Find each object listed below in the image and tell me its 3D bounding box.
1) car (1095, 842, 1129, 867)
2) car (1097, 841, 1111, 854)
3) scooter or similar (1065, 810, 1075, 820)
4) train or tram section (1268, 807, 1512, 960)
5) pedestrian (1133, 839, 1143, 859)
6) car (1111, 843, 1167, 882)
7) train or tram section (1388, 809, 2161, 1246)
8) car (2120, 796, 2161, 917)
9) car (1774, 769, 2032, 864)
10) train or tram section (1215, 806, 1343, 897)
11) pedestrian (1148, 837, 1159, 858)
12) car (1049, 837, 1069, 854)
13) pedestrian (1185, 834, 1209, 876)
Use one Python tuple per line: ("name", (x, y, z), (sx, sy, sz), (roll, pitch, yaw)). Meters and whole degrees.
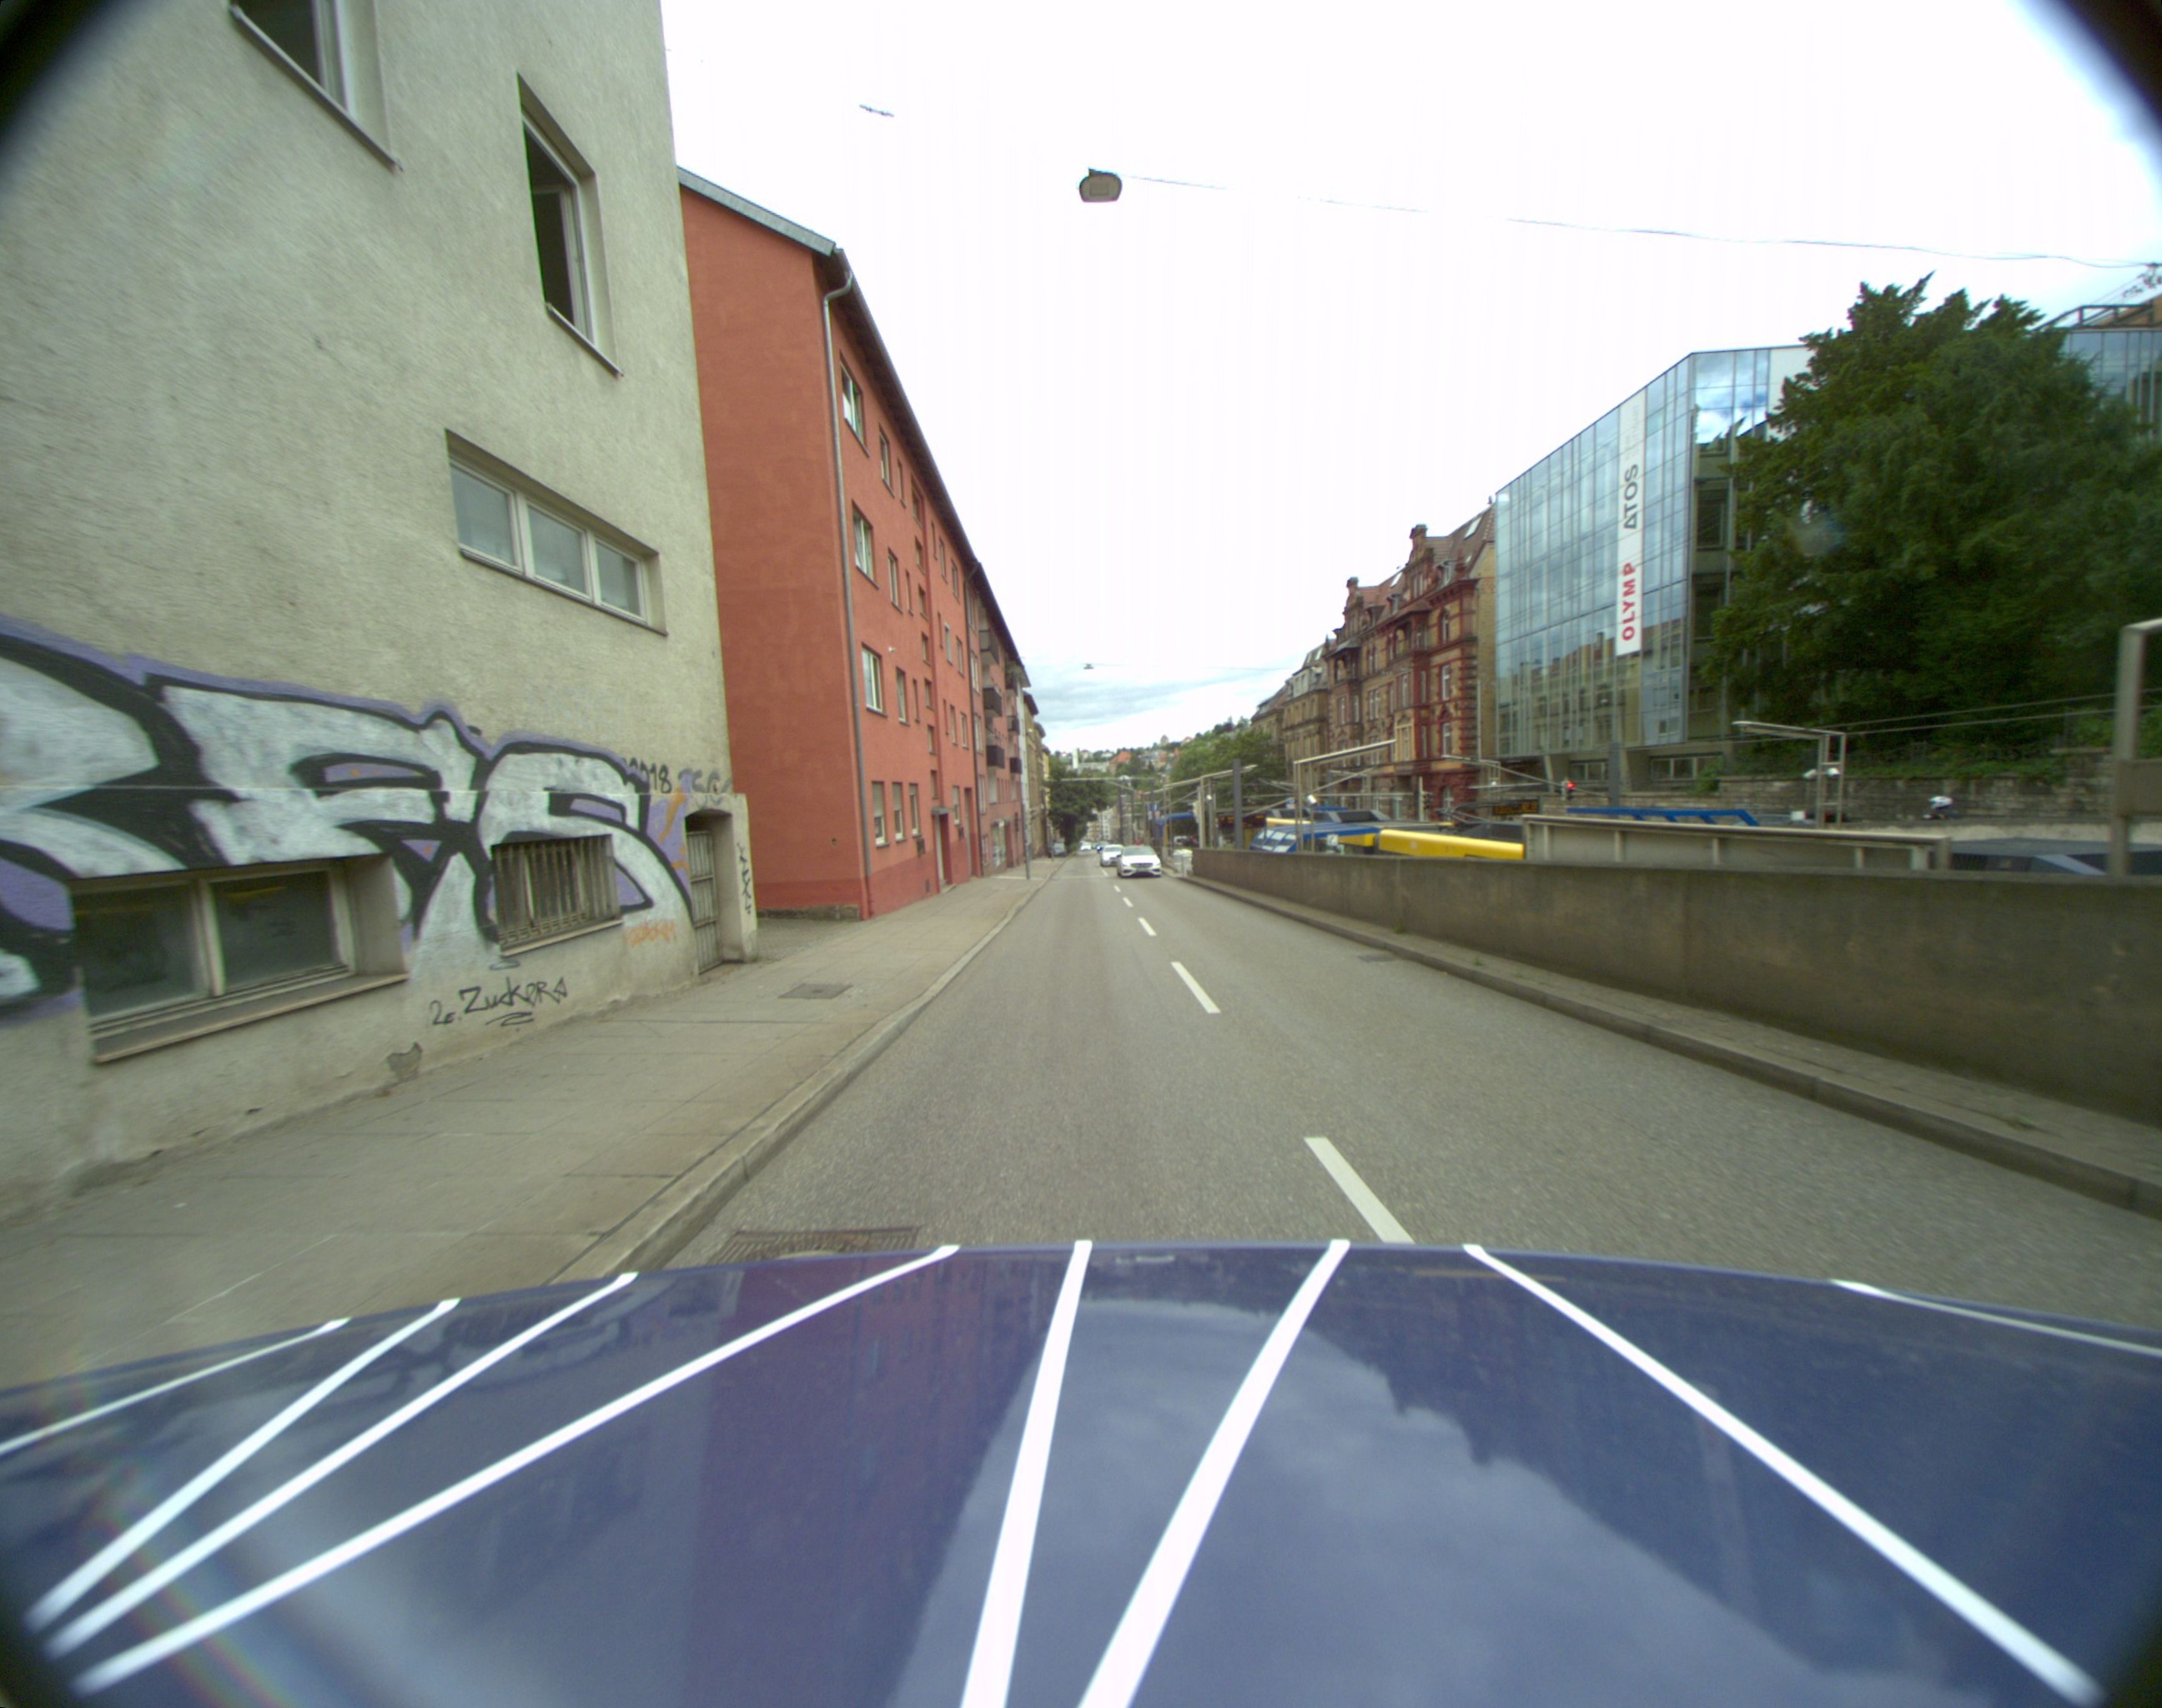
("car", (2.083, -0.011, 52.212), (1.999, 1.479, 4.229), (-5, 1, 0))
("car", (3.264, -0.894, 107.061), (1.881, 1.728, 4.000), (-3, 1, 2))
("scooter or similar", (-1.325, -4.803, 93.462), (1.199, 1.266, 0.629), (0, 2, -9))
("train or tram section", (8.971, 0.347, 24.443), (2.957, 3.453, 12.209), (-2, 4, 1))
("pedestrian", (4.799, -0.407, 64.125), (0.680, 1.671, 0.685), (-3, 2, -2))
("car", (2.608, 0.337, 34.930), (1.999, 1.390, 4.227), (-5, 2, -2))
("train or tram section", (8.932, 1.104, 12.237), (2.957, 3.465, 12.211), (-2, 3, 0))
("car", (19.162, 0.031, 11.258), (1.999, 2.002, 3.998), (-5, 2, -1))
("car", (19.874, -0.849, 18.677), (1.998, 2.002, 3.999), (-2, 1, 1))
("train or tram section", (9.058, -0.437, 36.718), (2.957, 3.524, 12.390), (-3, 3, 1))
("pedestrian", (5.929, -0.529, 62.177), (0.623, 1.685, 0.659), (-3, 2, -9))
("car", (-2.276, -0.961, 80.654), (1.862, 1.702, 4.307), (-2, 1, 2))
("pedestrian", (5.078, 0.053, 33.302), (0.818, 1.767, 0.802), (-3, 1, -3))
